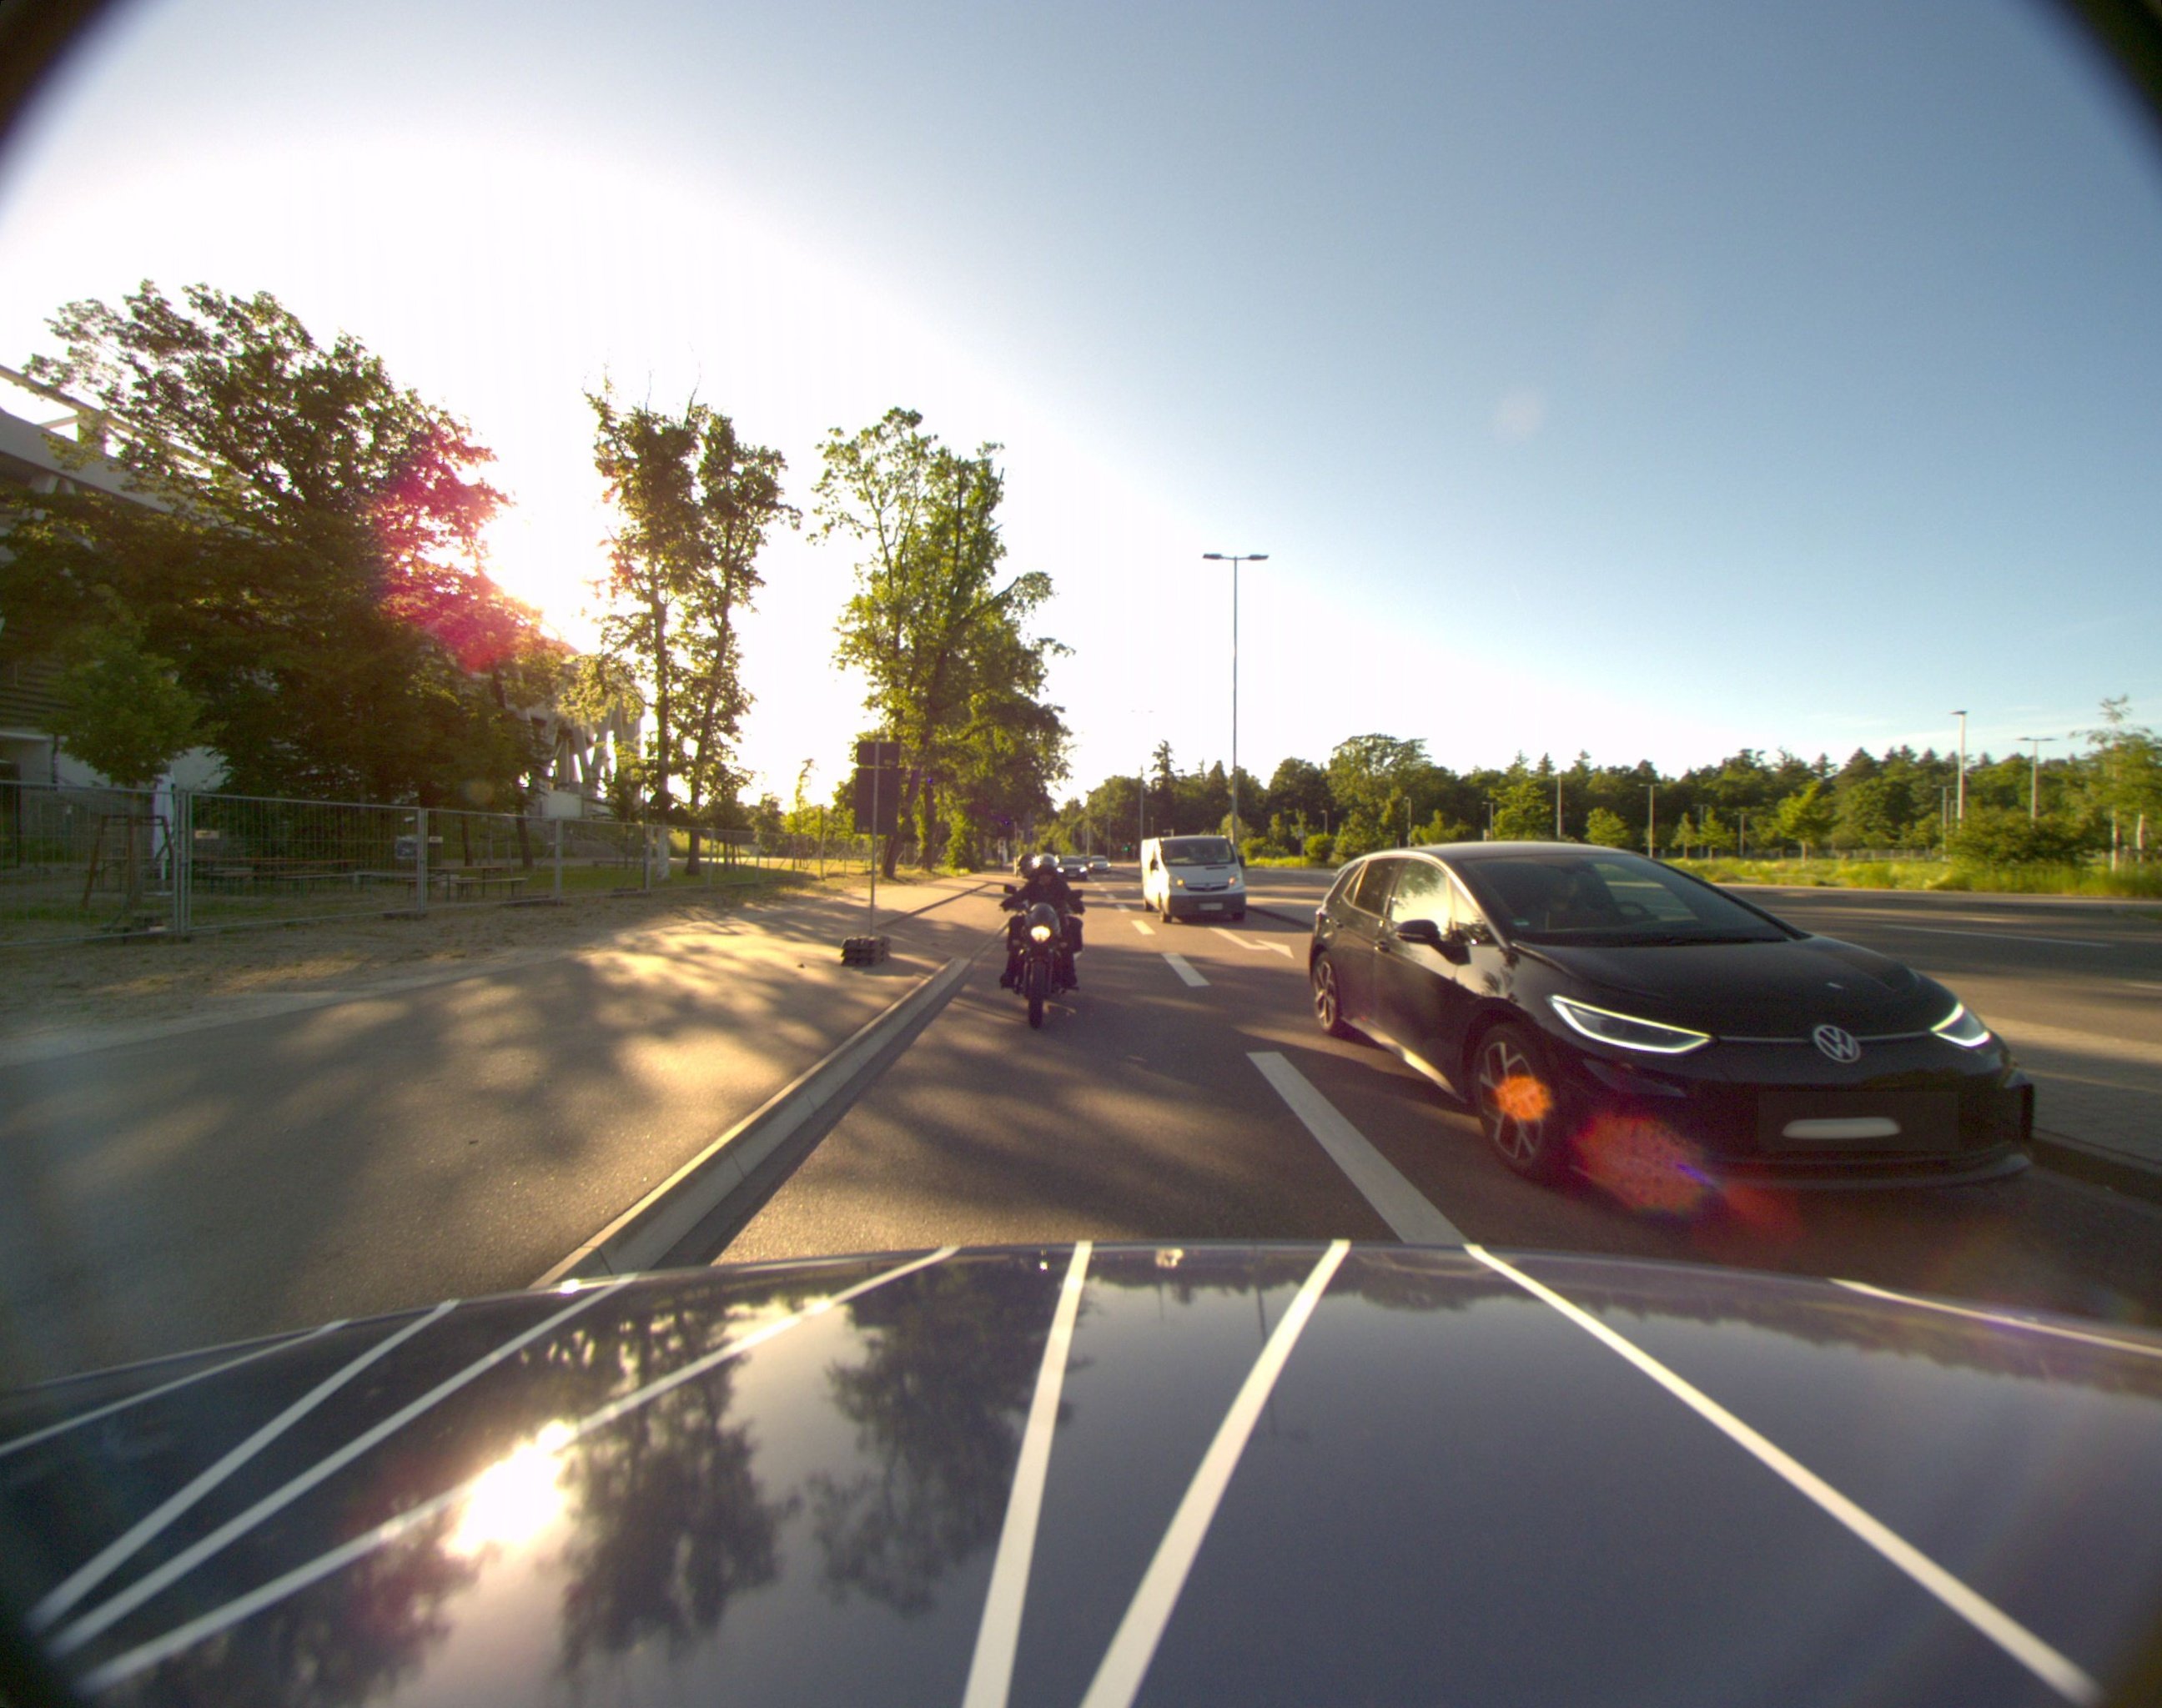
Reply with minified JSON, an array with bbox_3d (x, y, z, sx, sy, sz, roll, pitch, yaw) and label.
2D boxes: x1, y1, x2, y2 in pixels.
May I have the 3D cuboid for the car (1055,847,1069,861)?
[{"bbox_3d":[-2.764,0.001,111.400,1.774,1.849,3.999,-2,1,1],"label":"car"}]

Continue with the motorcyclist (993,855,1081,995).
[{"bbox_3d":[-0.436,0.715,7.839,0.822,1.367,0.476,-2,1,1],"label":"motorcyclist"}]

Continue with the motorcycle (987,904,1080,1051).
[{"bbox_3d":[-0.413,1.157,7.920,0.717,1.058,2.721,-2,0,1],"label":"motorcycle"}]

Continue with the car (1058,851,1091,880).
[{"bbox_3d":[-0.397,0.660,46.461,1.883,1.629,5.048,-2,0,0],"label":"car"}]

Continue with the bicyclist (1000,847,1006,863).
[{"bbox_3d":[-6.746,0.077,65.653,0.451,1.412,0.575,0,1,2],"label":"bicyclist"}]

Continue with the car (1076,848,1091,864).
[{"bbox_3d":[0.313,0.227,88.073,1.638,1.674,4.000,-2,1,1],"label":"car"}]

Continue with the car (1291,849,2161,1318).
[{"bbox_3d":[2.799,0.773,4.603,1.883,1.528,3.999,-2,1,0],"label":"car"}]

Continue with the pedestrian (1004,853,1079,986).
[{"bbox_3d":[-0.420,0.697,8.342,0.739,1.387,0.500,-2,1,1],"label":"pedestrian"}]

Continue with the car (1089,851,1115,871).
[{"bbox_3d":[1.699,0.578,63.041,1.883,1.514,5.048,-2,0,0],"label":"car"}]

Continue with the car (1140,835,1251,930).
[{"bbox_3d":[2.628,0.611,18.654,1.883,1.951,5.048,-2,0,0],"label":"car"}]

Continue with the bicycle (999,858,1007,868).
[{"bbox_3d":[-6.762,0.765,65.657,0.481,0.854,1.910,0,0,1],"label":"bicycle"}]
